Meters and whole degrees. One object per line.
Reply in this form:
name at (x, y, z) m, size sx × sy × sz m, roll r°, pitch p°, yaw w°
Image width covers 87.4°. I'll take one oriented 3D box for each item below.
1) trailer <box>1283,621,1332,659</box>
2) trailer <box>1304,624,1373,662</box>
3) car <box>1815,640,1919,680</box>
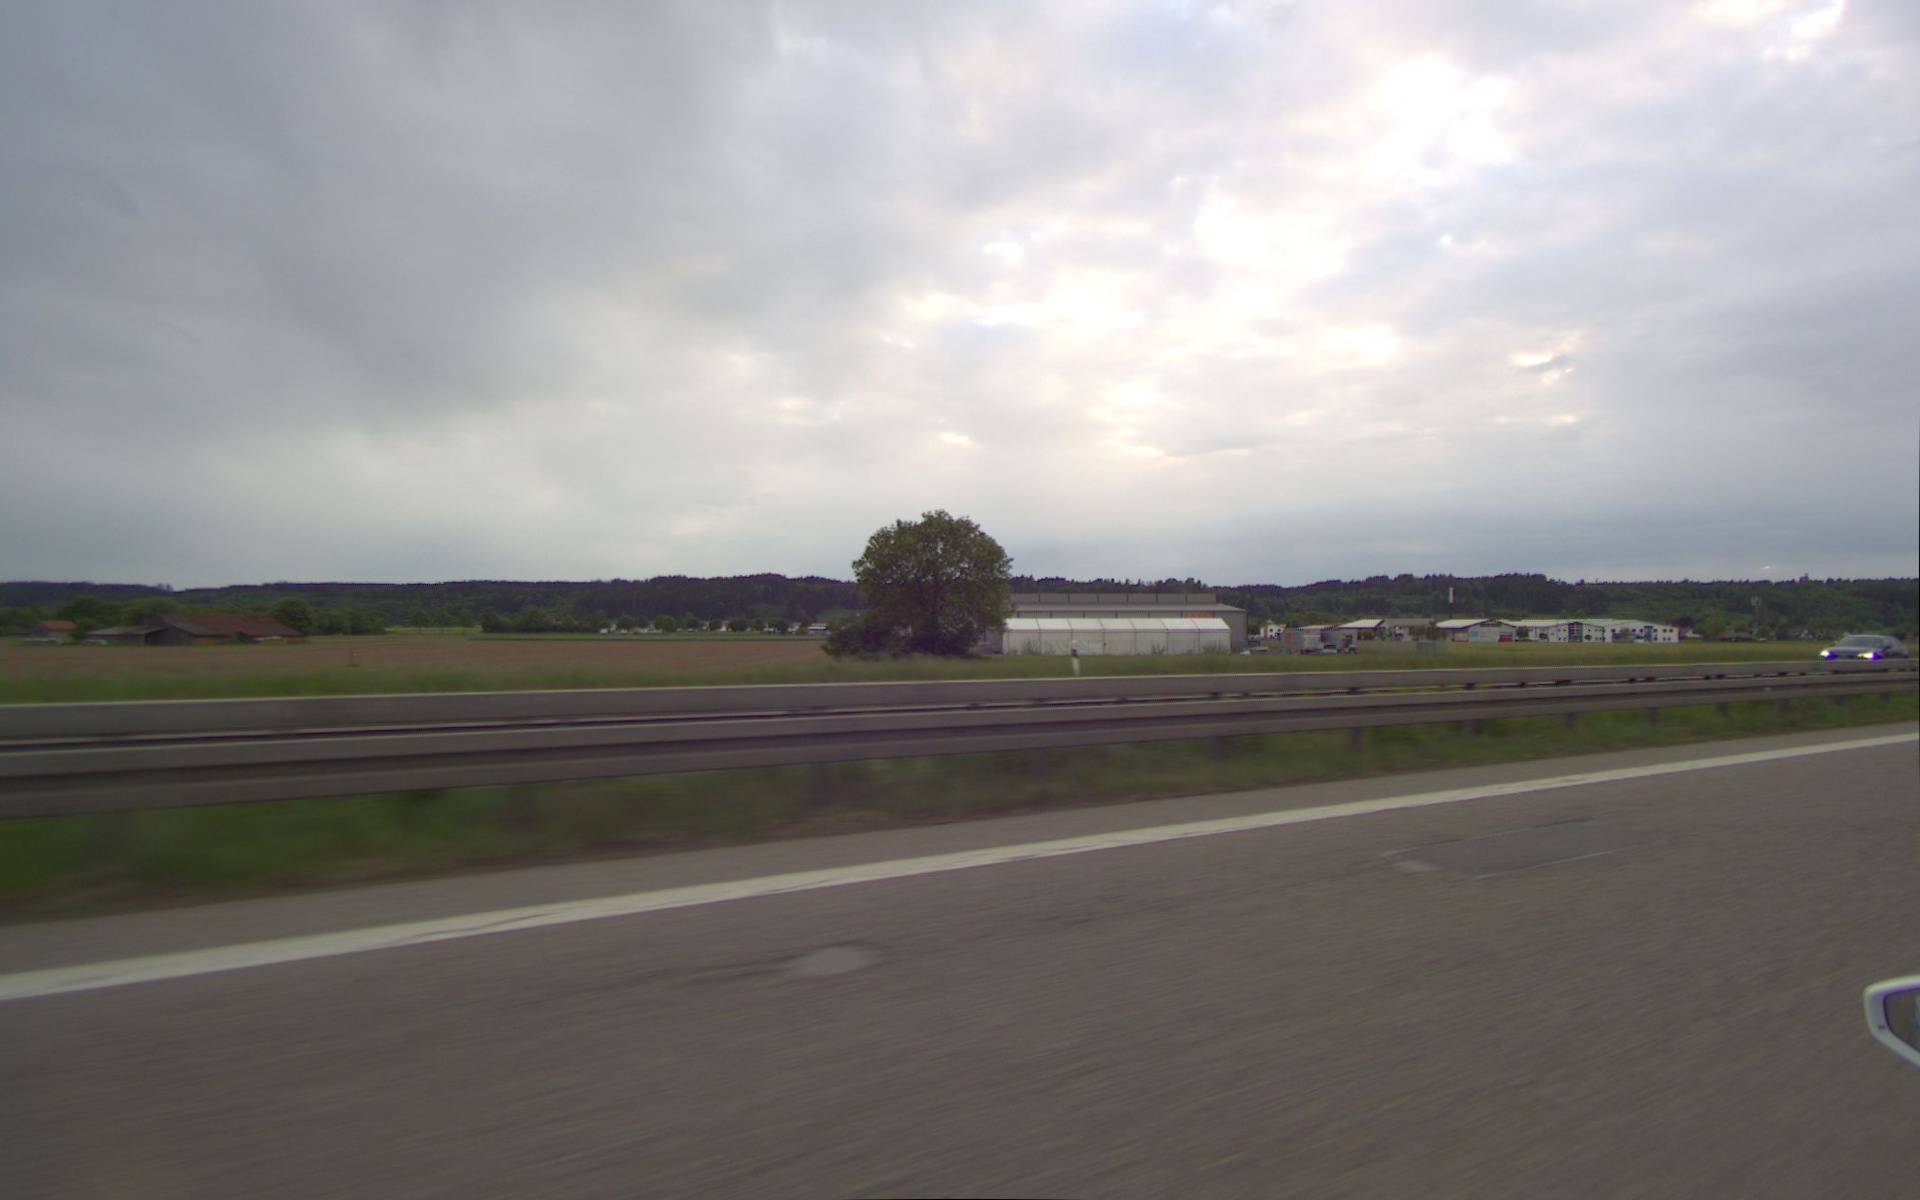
trailer at (51.166, 5.919, 148.114) m, size 3.681 × 5.328 × 10.085 m, roll 1°, pitch -3°, yaw 0°
trailer at (55.082, 6.328, 147.002) m, size 3.499 × 5.202 × 17.039 m, roll 1°, pitch -3°, yaw 0°
car at (36.067, 2.350, 39.763) m, size 4.470 × 1.435 × 1.984 m, roll 2°, pitch 0°, yaw -30°
